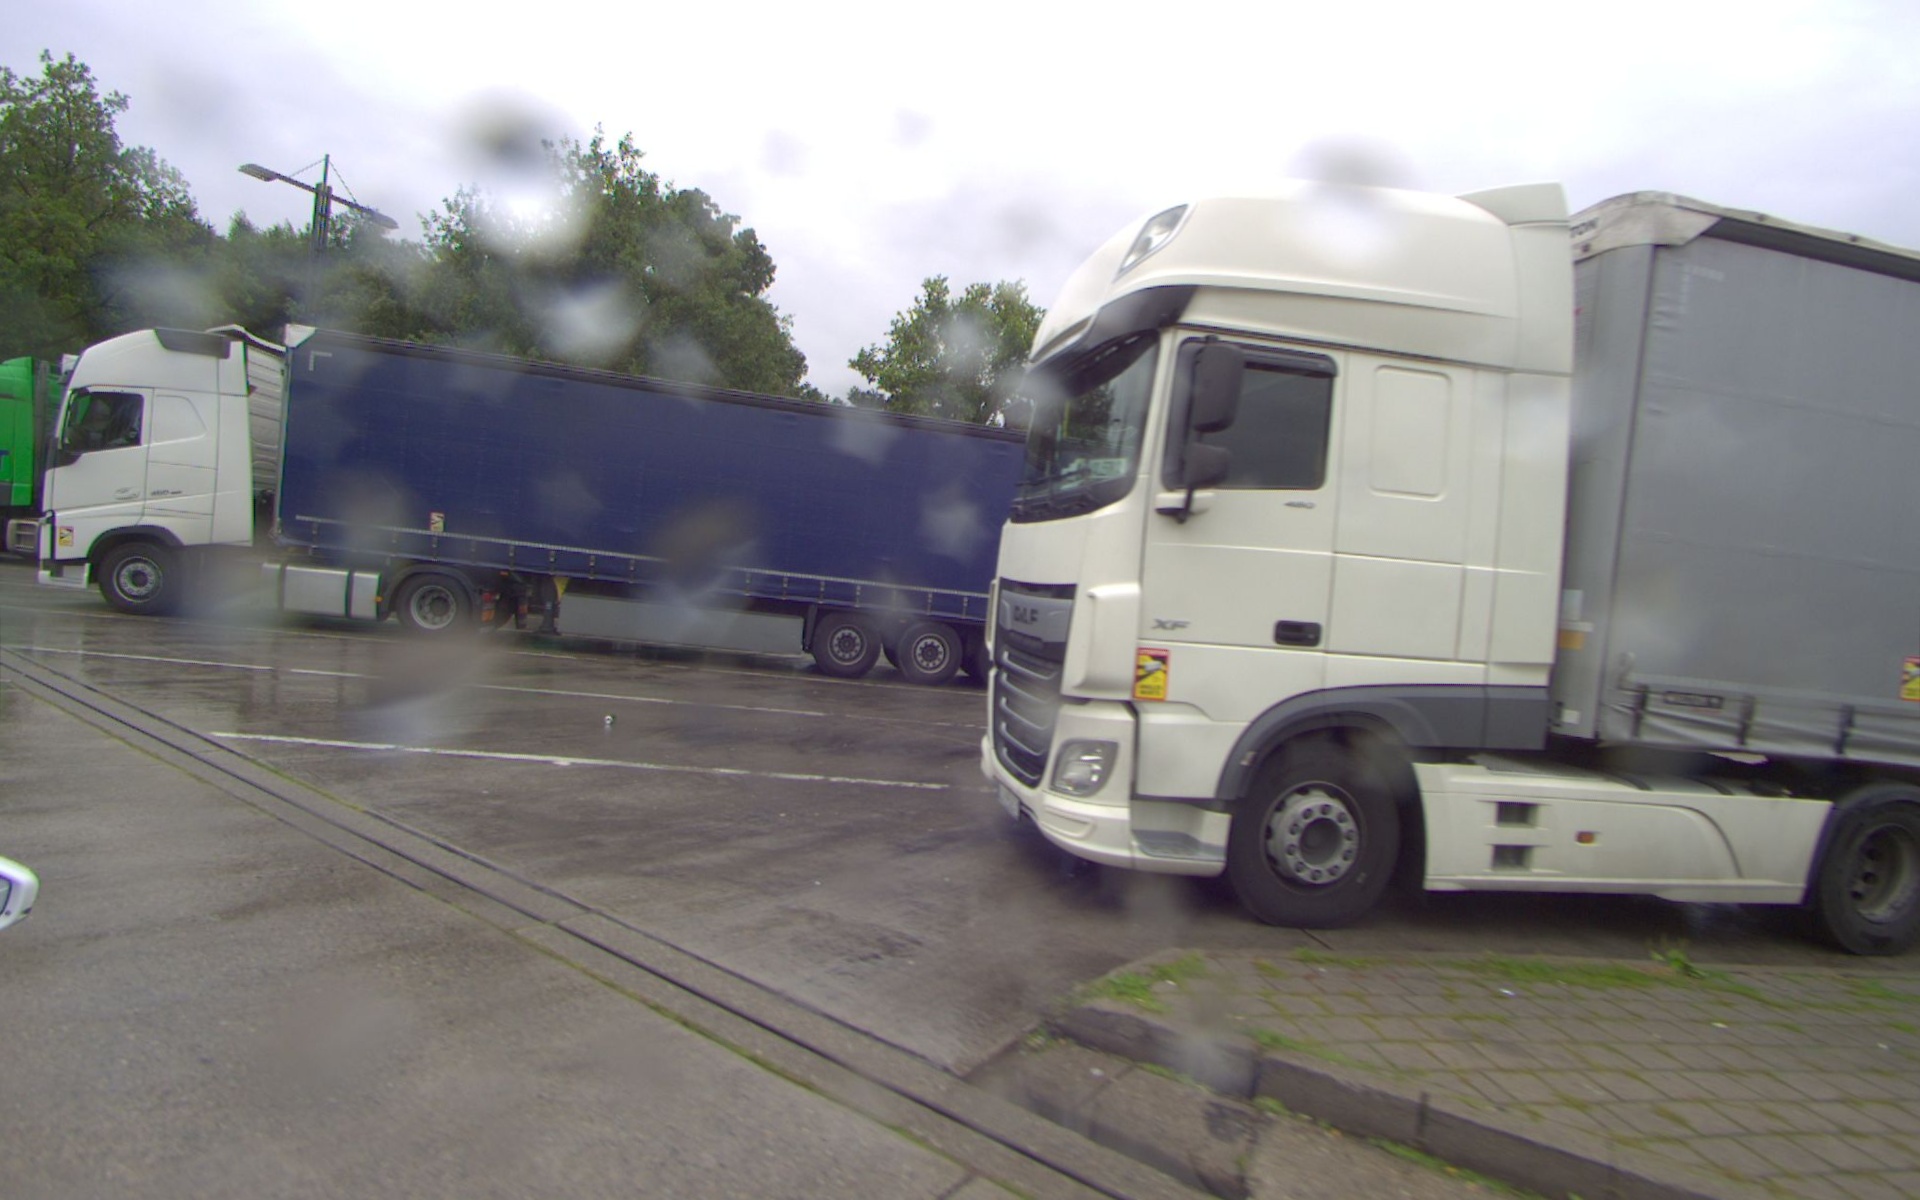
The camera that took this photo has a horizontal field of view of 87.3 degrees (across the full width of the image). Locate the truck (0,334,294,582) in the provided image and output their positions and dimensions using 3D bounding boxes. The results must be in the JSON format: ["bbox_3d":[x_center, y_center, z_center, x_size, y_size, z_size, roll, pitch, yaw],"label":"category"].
[{"bbox_3d":[-17.465,-2.793,20.229,5.900,4.204,2.818,6,2,-13],"label":"truck"}]

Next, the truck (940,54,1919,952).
[{"bbox_3d":[2.927,-0.266,6.596,5.322,3.963,2.823,6,2,-12],"label":"truck"}]

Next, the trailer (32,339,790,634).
[{"bbox_3d":[-10.839,-2.098,21.712,13.739,4.203,2.818,6,1,-13],"label":"trailer"}]

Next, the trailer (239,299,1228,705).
[{"bbox_3d":[-2.922,-1.182,16.049,13.761,4.225,2.819,6,2,-11],"label":"trailer"}]

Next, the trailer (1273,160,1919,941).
[{"bbox_3d":[9.659,0.393,8.012,13.724,3.970,2.836,6,2,-12],"label":"trailer"}]

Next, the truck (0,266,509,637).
[{"bbox_3d":[-9.883,-1.895,14.645,5.214,4.200,2.819,6,2,-11],"label":"truck"}]
